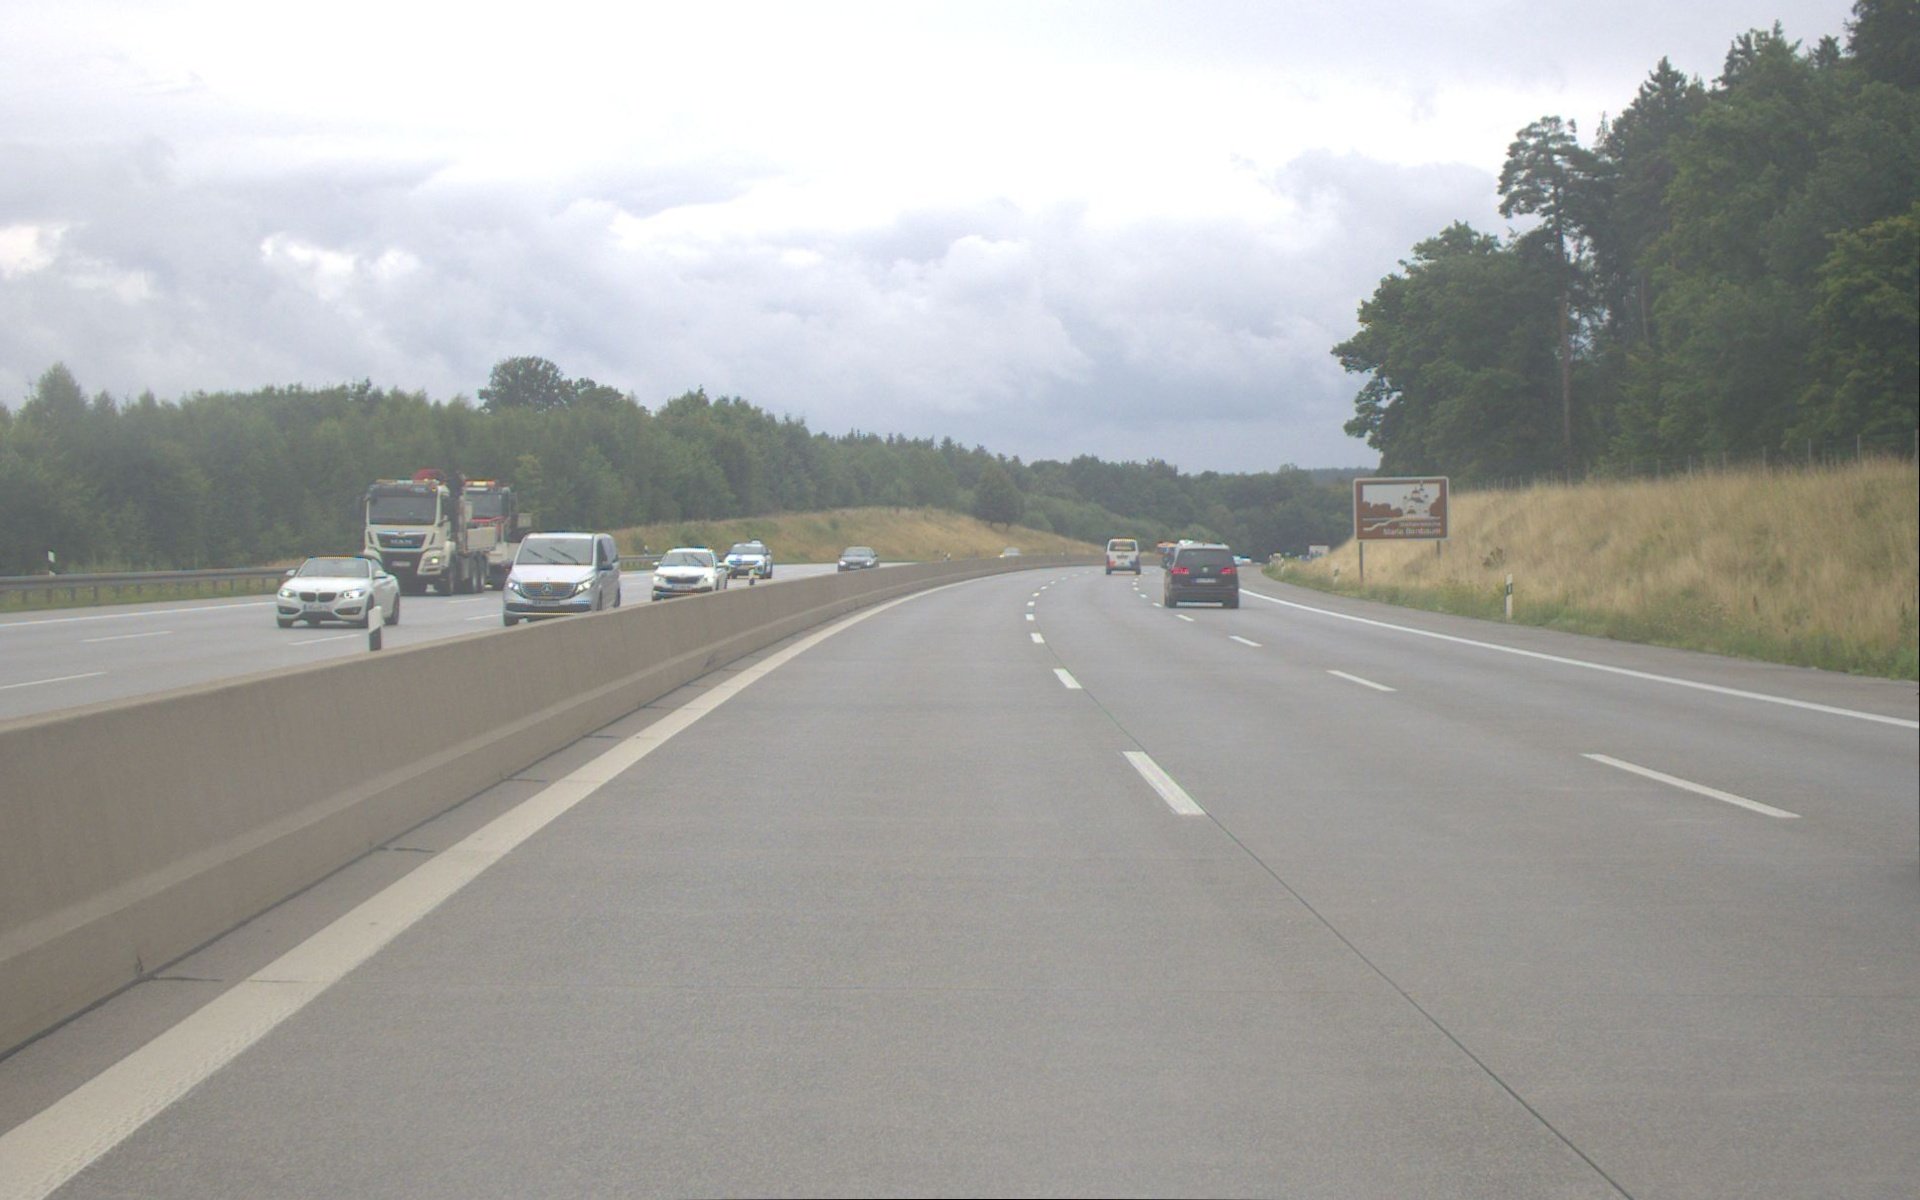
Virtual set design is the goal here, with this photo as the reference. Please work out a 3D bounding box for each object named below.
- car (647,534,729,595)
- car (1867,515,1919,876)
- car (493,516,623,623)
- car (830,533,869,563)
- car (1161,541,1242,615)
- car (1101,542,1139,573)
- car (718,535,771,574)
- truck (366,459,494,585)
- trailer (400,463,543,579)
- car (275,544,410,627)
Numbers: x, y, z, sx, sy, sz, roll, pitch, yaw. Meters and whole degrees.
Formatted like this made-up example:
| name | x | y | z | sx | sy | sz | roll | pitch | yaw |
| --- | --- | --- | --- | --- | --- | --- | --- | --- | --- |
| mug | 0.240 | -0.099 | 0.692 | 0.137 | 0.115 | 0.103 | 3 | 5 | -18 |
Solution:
| name | x | y | z | sx | sy | sz | roll | pitch | yaw |
| --- | --- | --- | --- | --- | --- | --- | --- | --- | --- |
| car | -7.350 | -0.981 | 93.118 | 1.714 | 1.415 | 4.213 | 3 | 2 | 1 |
| car | 5.456 | 0.524 | 14.489 | 1.898 | 1.684 | 5.266 | 1 | 2 | 1 |
| car | -8.164 | -0.670 | 70.254 | 1.993 | 2.006 | 5.526 | 2 | 2 | 0 |
| car | -5.371 | -2.518 | 167.274 | 1.762 | 1.262 | 4.493 | -1 | -1 | 0 |
| car | 6.357 | -0.608 | 90.828 | 1.785 | 1.741 | 3.916 | -3 | 2 | 0 |
| car | 8.815 | -2.332 | 189.160 | 1.841 | 1.495 | 4.001 | -3 | 2 | 0 |
| car | -9.388 | -1.987 | 150.182 | 1.763 | 1.581 | 4.757 | 1 | 2 | 3 |
| truck | -15.822 | -2.347 | 103.070 | 2.586 | 3.640 | 7.661 | 0 | 1 | 0 |
| trailer | -15.759 | -2.513 | 111.881 | 2.586 | 3.530 | 13.724 | 0 | 1 | 0 |
| car | -11.933 | -0.301 | 66.669 | 1.737 | 1.363 | 4.097 | 3 | 2 | 1 |
